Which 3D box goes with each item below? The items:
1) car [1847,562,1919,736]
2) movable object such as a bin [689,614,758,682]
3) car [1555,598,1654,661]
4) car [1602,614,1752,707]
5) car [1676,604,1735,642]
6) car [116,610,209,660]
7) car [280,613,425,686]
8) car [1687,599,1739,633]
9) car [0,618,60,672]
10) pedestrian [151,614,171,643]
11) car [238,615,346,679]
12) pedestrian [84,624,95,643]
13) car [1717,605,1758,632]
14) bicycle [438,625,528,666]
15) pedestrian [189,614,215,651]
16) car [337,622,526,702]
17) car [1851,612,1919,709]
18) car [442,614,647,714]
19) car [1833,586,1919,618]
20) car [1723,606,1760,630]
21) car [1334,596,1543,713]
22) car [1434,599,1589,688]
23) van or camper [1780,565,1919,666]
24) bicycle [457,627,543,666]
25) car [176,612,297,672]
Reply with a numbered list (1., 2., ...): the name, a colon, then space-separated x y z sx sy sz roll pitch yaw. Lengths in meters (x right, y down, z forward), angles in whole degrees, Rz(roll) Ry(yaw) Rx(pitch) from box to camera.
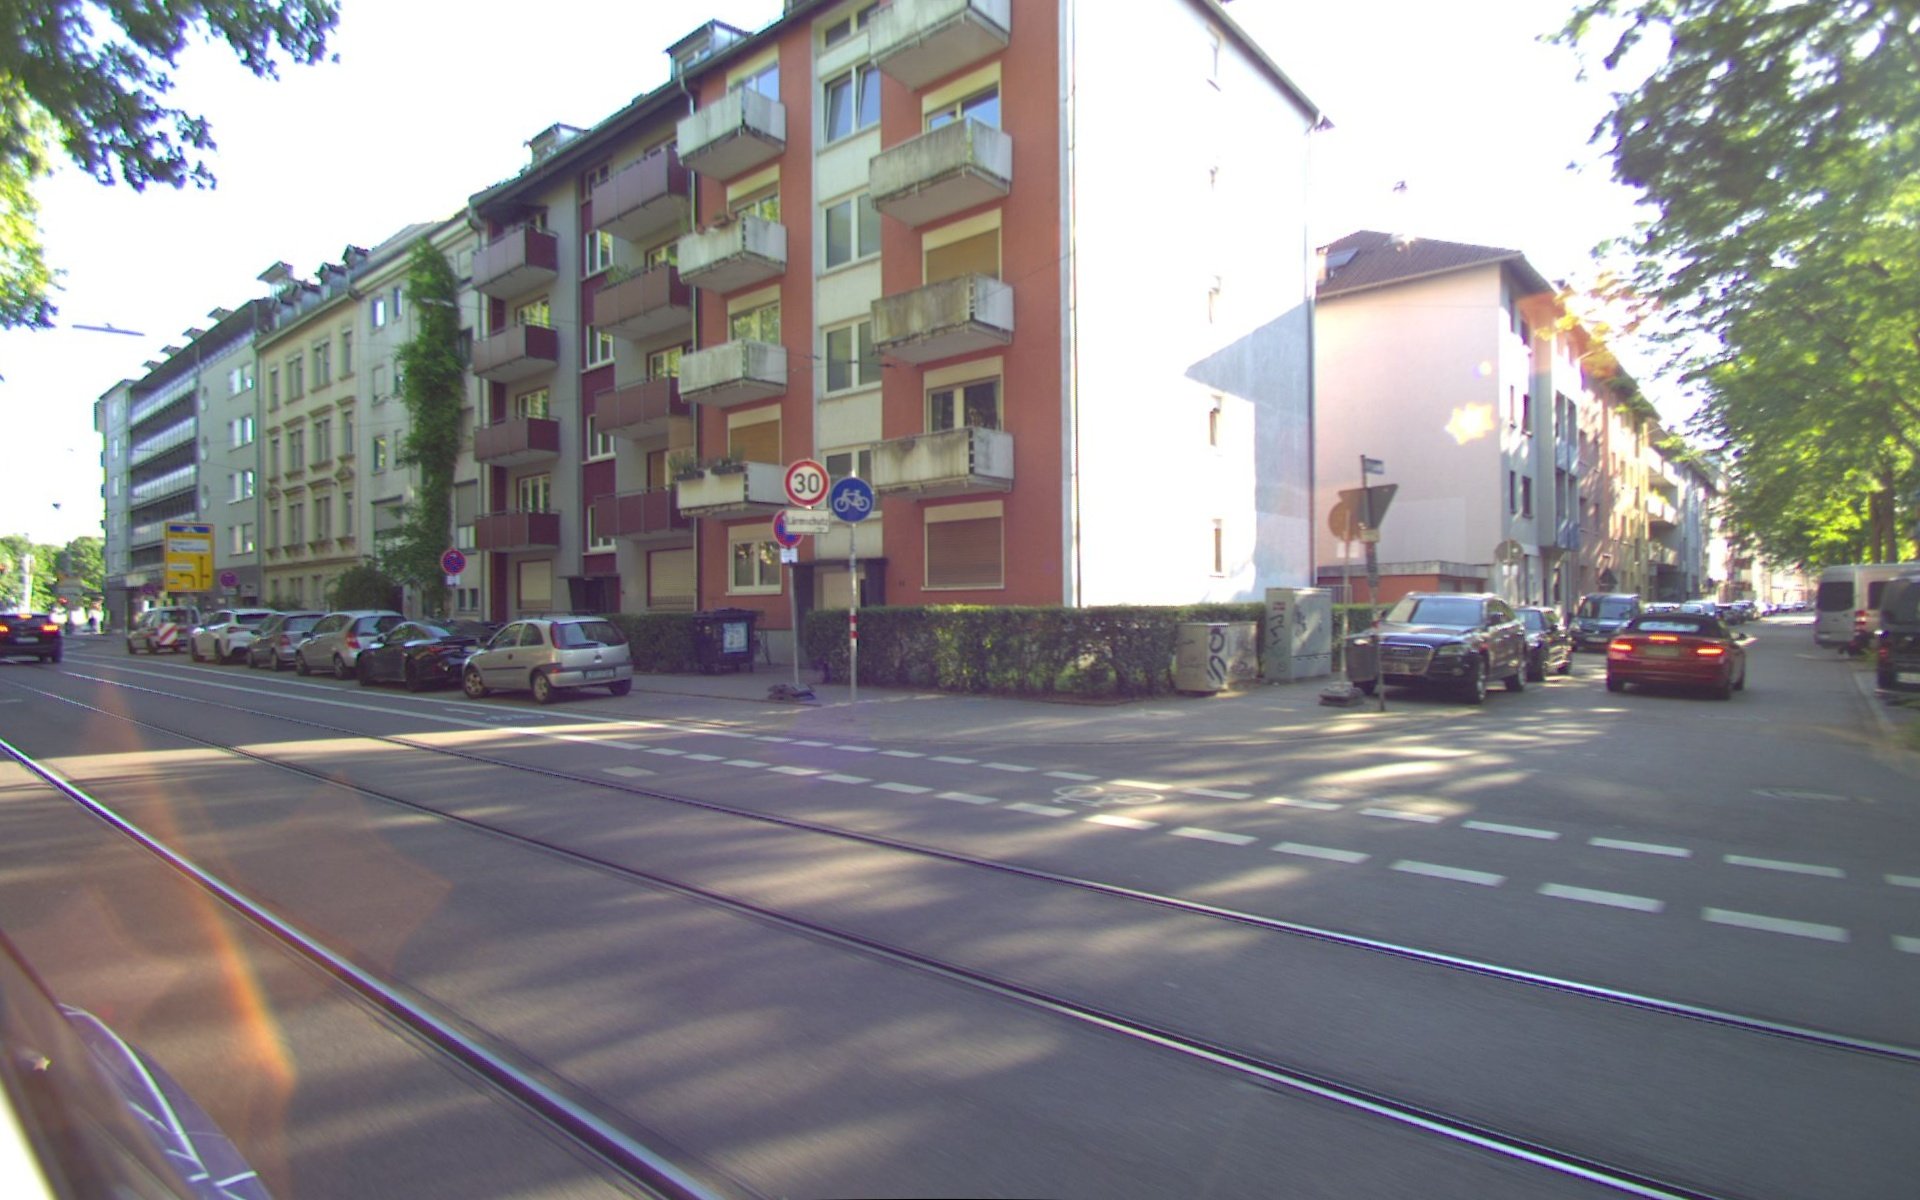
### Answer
1. car: 14.168 0.579 12.281 4.675 2.139 1.992 -1 0 13
2. movable object such as a bin: -4.951 0.985 21.176 0.747 1.375 1.198 -1 -1 42
3. car: 19.385 0.808 30.358 1.915 1.736 4.263 1 0 41
4. car: 12.914 0.979 18.116 1.798 1.400 4.178 0 0 41
5. car: 35.588 1.064 48.284 1.915 1.736 4.263 -1 -1 41
6. car: -30.898 1.348 39.172 4.465 1.784 1.772 -2 0 38
7. car: -15.066 1.177 25.035 4.001 1.599 1.801 -1 0 39
8. car: 40.891 0.860 54.938 1.915 1.736 4.263 -1 -1 41
9. car: -30.631 1.397 32.773 4.464 1.612 1.833 -1 -1 43
10. pedestrian: -49.753 1.789 63.013 0.819 1.726 0.779 -1 2 40
11. car: -18.651 1.245 28.192 3.780 1.583 1.609 -1 1 42
12. pedestrian: -76.427 2.924 88.837 0.706 1.686 0.905 0 -1 -41
13. car: 52.329 1.246 68.088 1.915 1.736 4.263 -1 -1 41
14. bicycle: -14.575 1.375 30.987 0.698 1.070 2.428 -1 1 38
15. pedestrian: -38.065 1.614 50.850 0.735 1.798 0.856 -2 0 39
16. car: -11.262 1.225 21.415 4.861 1.405 1.932 -1 2 42
17. car: 17.252 0.977 16.781 3.286 1.556 1.628 -1 -1 13
18. car: -7.420 1.052 17.924 3.927 1.494 1.708 -1 1 40
19. car: 61.243 0.142 67.604 3.954 2.029 1.995 -1 -1 9
20. car: 57.703 1.309 74.709 1.915 1.736 4.263 -1 -1 41
21. car: 7.862 0.757 16.399 1.937 1.618 4.486 1 0 41
22. car: 11.475 0.802 20.920 1.937 1.618 4.263 1 0 41
23. van or camper: 26.016 0.410 27.369 5.487 2.649 2.251 -1 -1 10
24. bicycle: -13.712 1.378 30.227 0.698 1.000 2.268 -1 1 38
25. car: -22.784 1.255 31.808 4.878 1.661 1.933 -1 1 40
